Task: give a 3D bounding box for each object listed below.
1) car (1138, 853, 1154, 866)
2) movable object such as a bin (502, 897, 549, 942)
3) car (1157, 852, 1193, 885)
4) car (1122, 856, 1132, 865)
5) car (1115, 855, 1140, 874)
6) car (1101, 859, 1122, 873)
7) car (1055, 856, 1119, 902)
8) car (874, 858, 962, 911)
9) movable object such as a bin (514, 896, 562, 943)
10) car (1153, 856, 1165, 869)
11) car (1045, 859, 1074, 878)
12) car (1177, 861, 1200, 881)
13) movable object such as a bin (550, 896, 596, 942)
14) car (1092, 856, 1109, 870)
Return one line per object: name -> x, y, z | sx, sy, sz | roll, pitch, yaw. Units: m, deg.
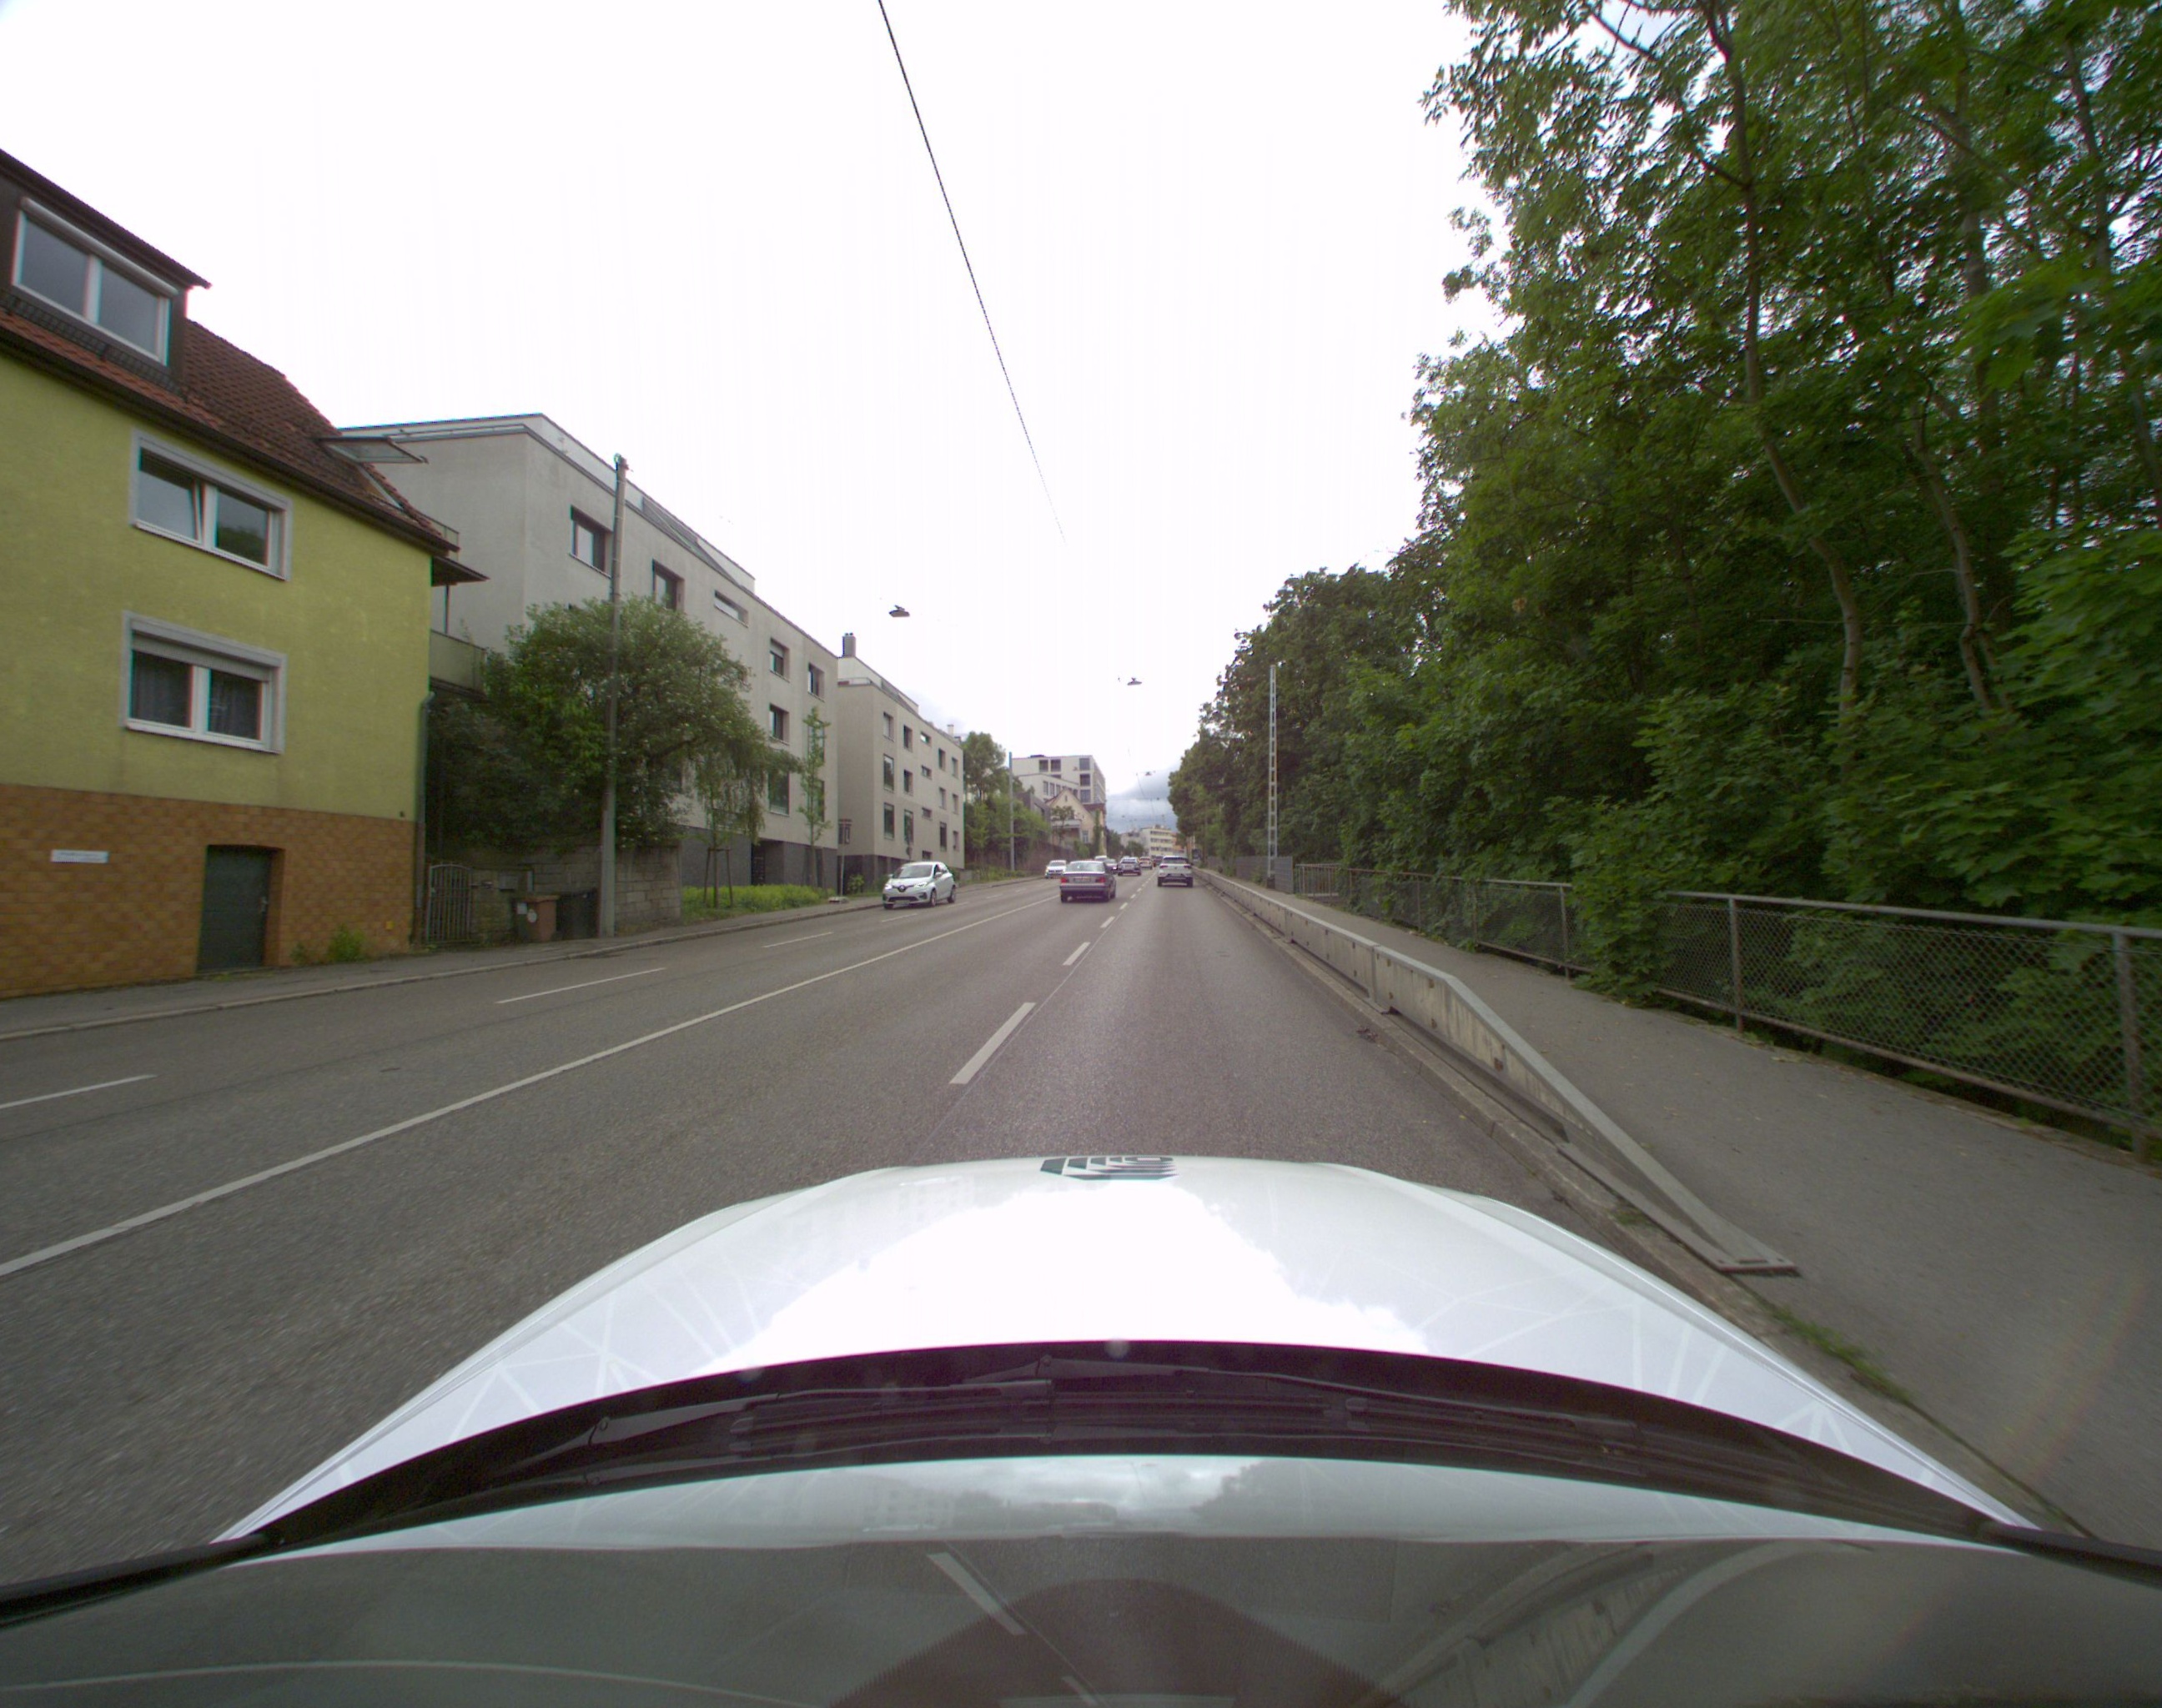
car -> 7.580, 0.634, 94.063 | 1.697, 1.464, 4.007 | -1, 0, 6
movable object such as a bin -> -11.458, 1.347, 16.813 | 0.568, 0.885, 0.608 | 2, -1, -10
car -> 4.768, 0.721, 41.657 | 1.771, 1.579, 4.006 | 0, 0, 5
car -> 9.479, 1.319, 166.547 | 1.807, 1.784, 4.503 | 1, 0, 6
car -> 3.771, 0.810, 65.548 | 1.697, 1.464, 4.007 | -1, 0, 6
car -> 3.122, 1.174, 81.666 | 1.744, 1.269, 4.199 | -2, 0, 6
car -> 0.272, 0.831, 27.975 | 1.697, 1.464, 4.008 | 0, -1, 8
car -> -5.654, 1.015, 28.729 | 1.735, 1.614, 4.065 | -3, 0, 7
movable object such as a bin -> -10.852, 1.310, 16.303 | 0.568, 0.885, 0.608 | 2, -1, -10
car -> 10.722, 1.113, 112.001 | 1.648, 1.765, 3.293 | 0, 0, 7
car -> -1.708, 1.136, 66.335 | 1.764, 1.464, 4.199 | -2, 0, 6
car -> 8.660, 1.373, 65.784 | 1.698, 1.464, 4.007 | 2, -1, 6
movable object such as a bin -> -10.279, 1.316, 16.494 | 0.568, 0.885, 0.608 | 2, -1, -10
car -> 2.603, 1.130, 106.393 | 1.724, 1.788, 4.875 | -2, 0, 6
